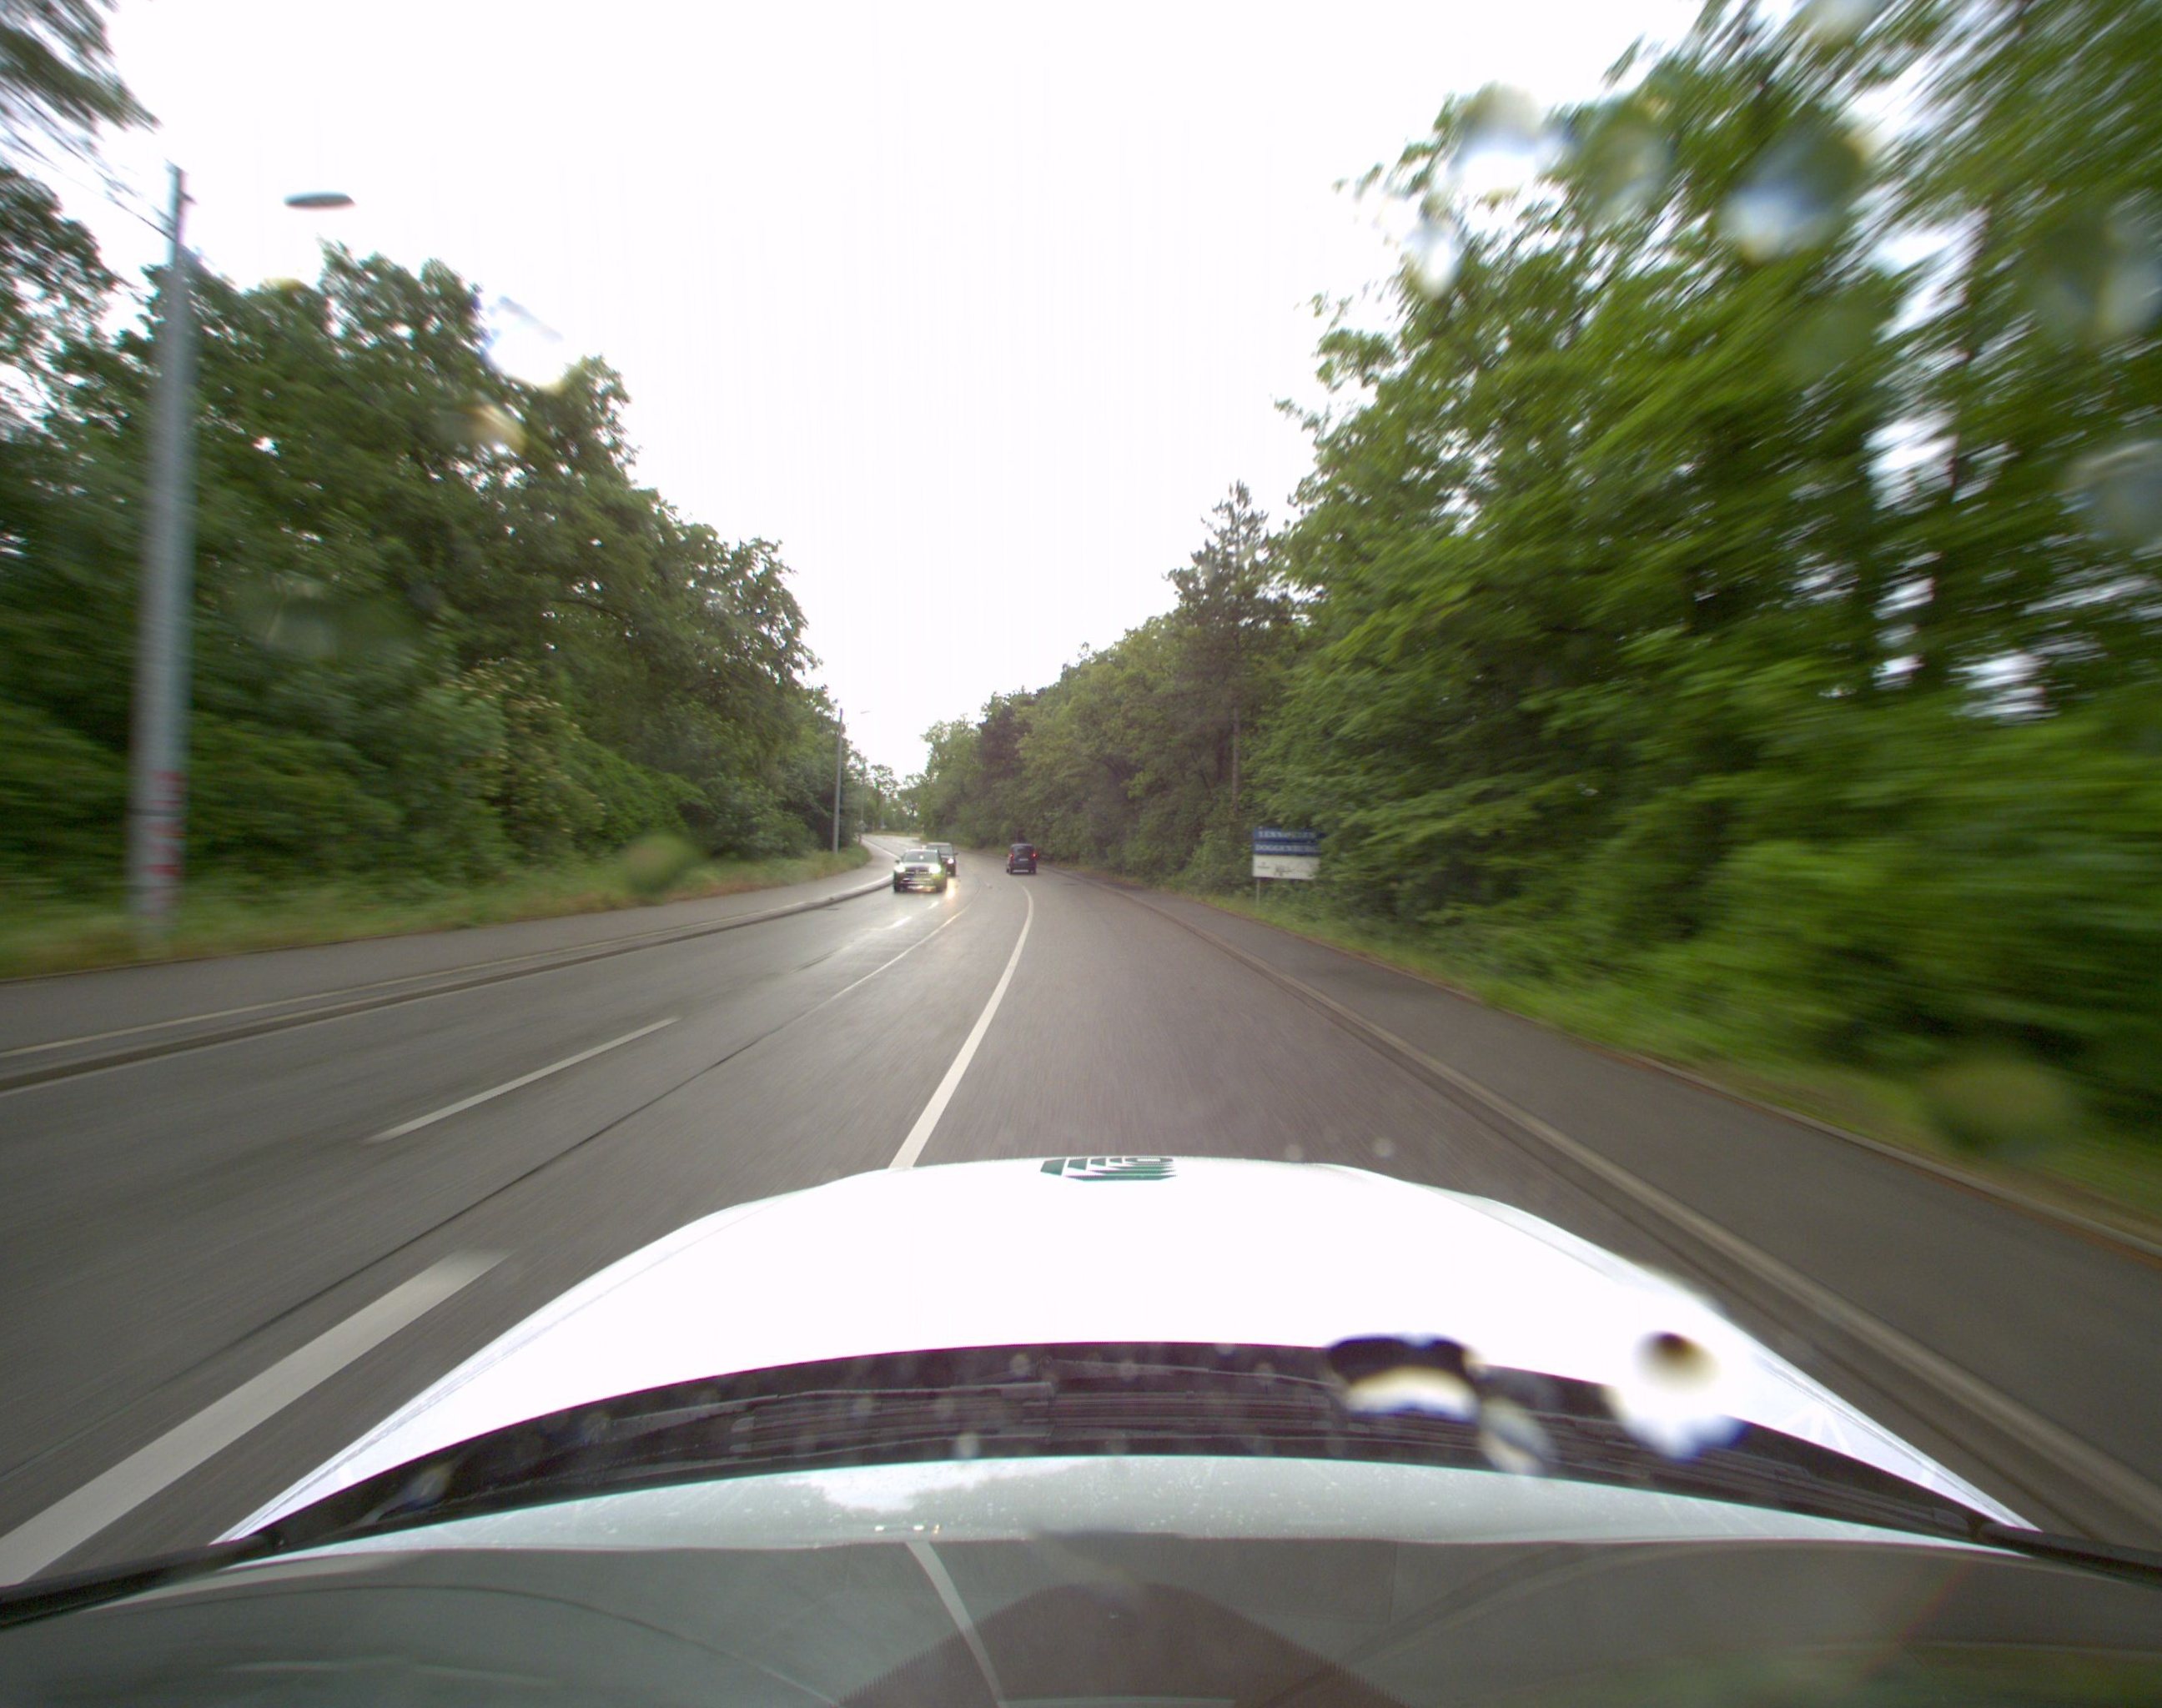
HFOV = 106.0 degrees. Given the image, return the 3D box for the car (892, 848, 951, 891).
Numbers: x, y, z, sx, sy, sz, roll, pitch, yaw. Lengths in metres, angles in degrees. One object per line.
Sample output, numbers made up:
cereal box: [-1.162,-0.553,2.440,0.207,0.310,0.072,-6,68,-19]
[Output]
car: [-6.400,0.585,33.138,1.805,1.595,4.511,1,0,-4]

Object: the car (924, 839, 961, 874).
car: [-8.321,0.092,48.695,1.829,1.842,4.691,-3,2,-13]

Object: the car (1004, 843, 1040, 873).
car: [-3.685,0.242,50.481,1.827,1.794,3.986,-1,0,-10]
